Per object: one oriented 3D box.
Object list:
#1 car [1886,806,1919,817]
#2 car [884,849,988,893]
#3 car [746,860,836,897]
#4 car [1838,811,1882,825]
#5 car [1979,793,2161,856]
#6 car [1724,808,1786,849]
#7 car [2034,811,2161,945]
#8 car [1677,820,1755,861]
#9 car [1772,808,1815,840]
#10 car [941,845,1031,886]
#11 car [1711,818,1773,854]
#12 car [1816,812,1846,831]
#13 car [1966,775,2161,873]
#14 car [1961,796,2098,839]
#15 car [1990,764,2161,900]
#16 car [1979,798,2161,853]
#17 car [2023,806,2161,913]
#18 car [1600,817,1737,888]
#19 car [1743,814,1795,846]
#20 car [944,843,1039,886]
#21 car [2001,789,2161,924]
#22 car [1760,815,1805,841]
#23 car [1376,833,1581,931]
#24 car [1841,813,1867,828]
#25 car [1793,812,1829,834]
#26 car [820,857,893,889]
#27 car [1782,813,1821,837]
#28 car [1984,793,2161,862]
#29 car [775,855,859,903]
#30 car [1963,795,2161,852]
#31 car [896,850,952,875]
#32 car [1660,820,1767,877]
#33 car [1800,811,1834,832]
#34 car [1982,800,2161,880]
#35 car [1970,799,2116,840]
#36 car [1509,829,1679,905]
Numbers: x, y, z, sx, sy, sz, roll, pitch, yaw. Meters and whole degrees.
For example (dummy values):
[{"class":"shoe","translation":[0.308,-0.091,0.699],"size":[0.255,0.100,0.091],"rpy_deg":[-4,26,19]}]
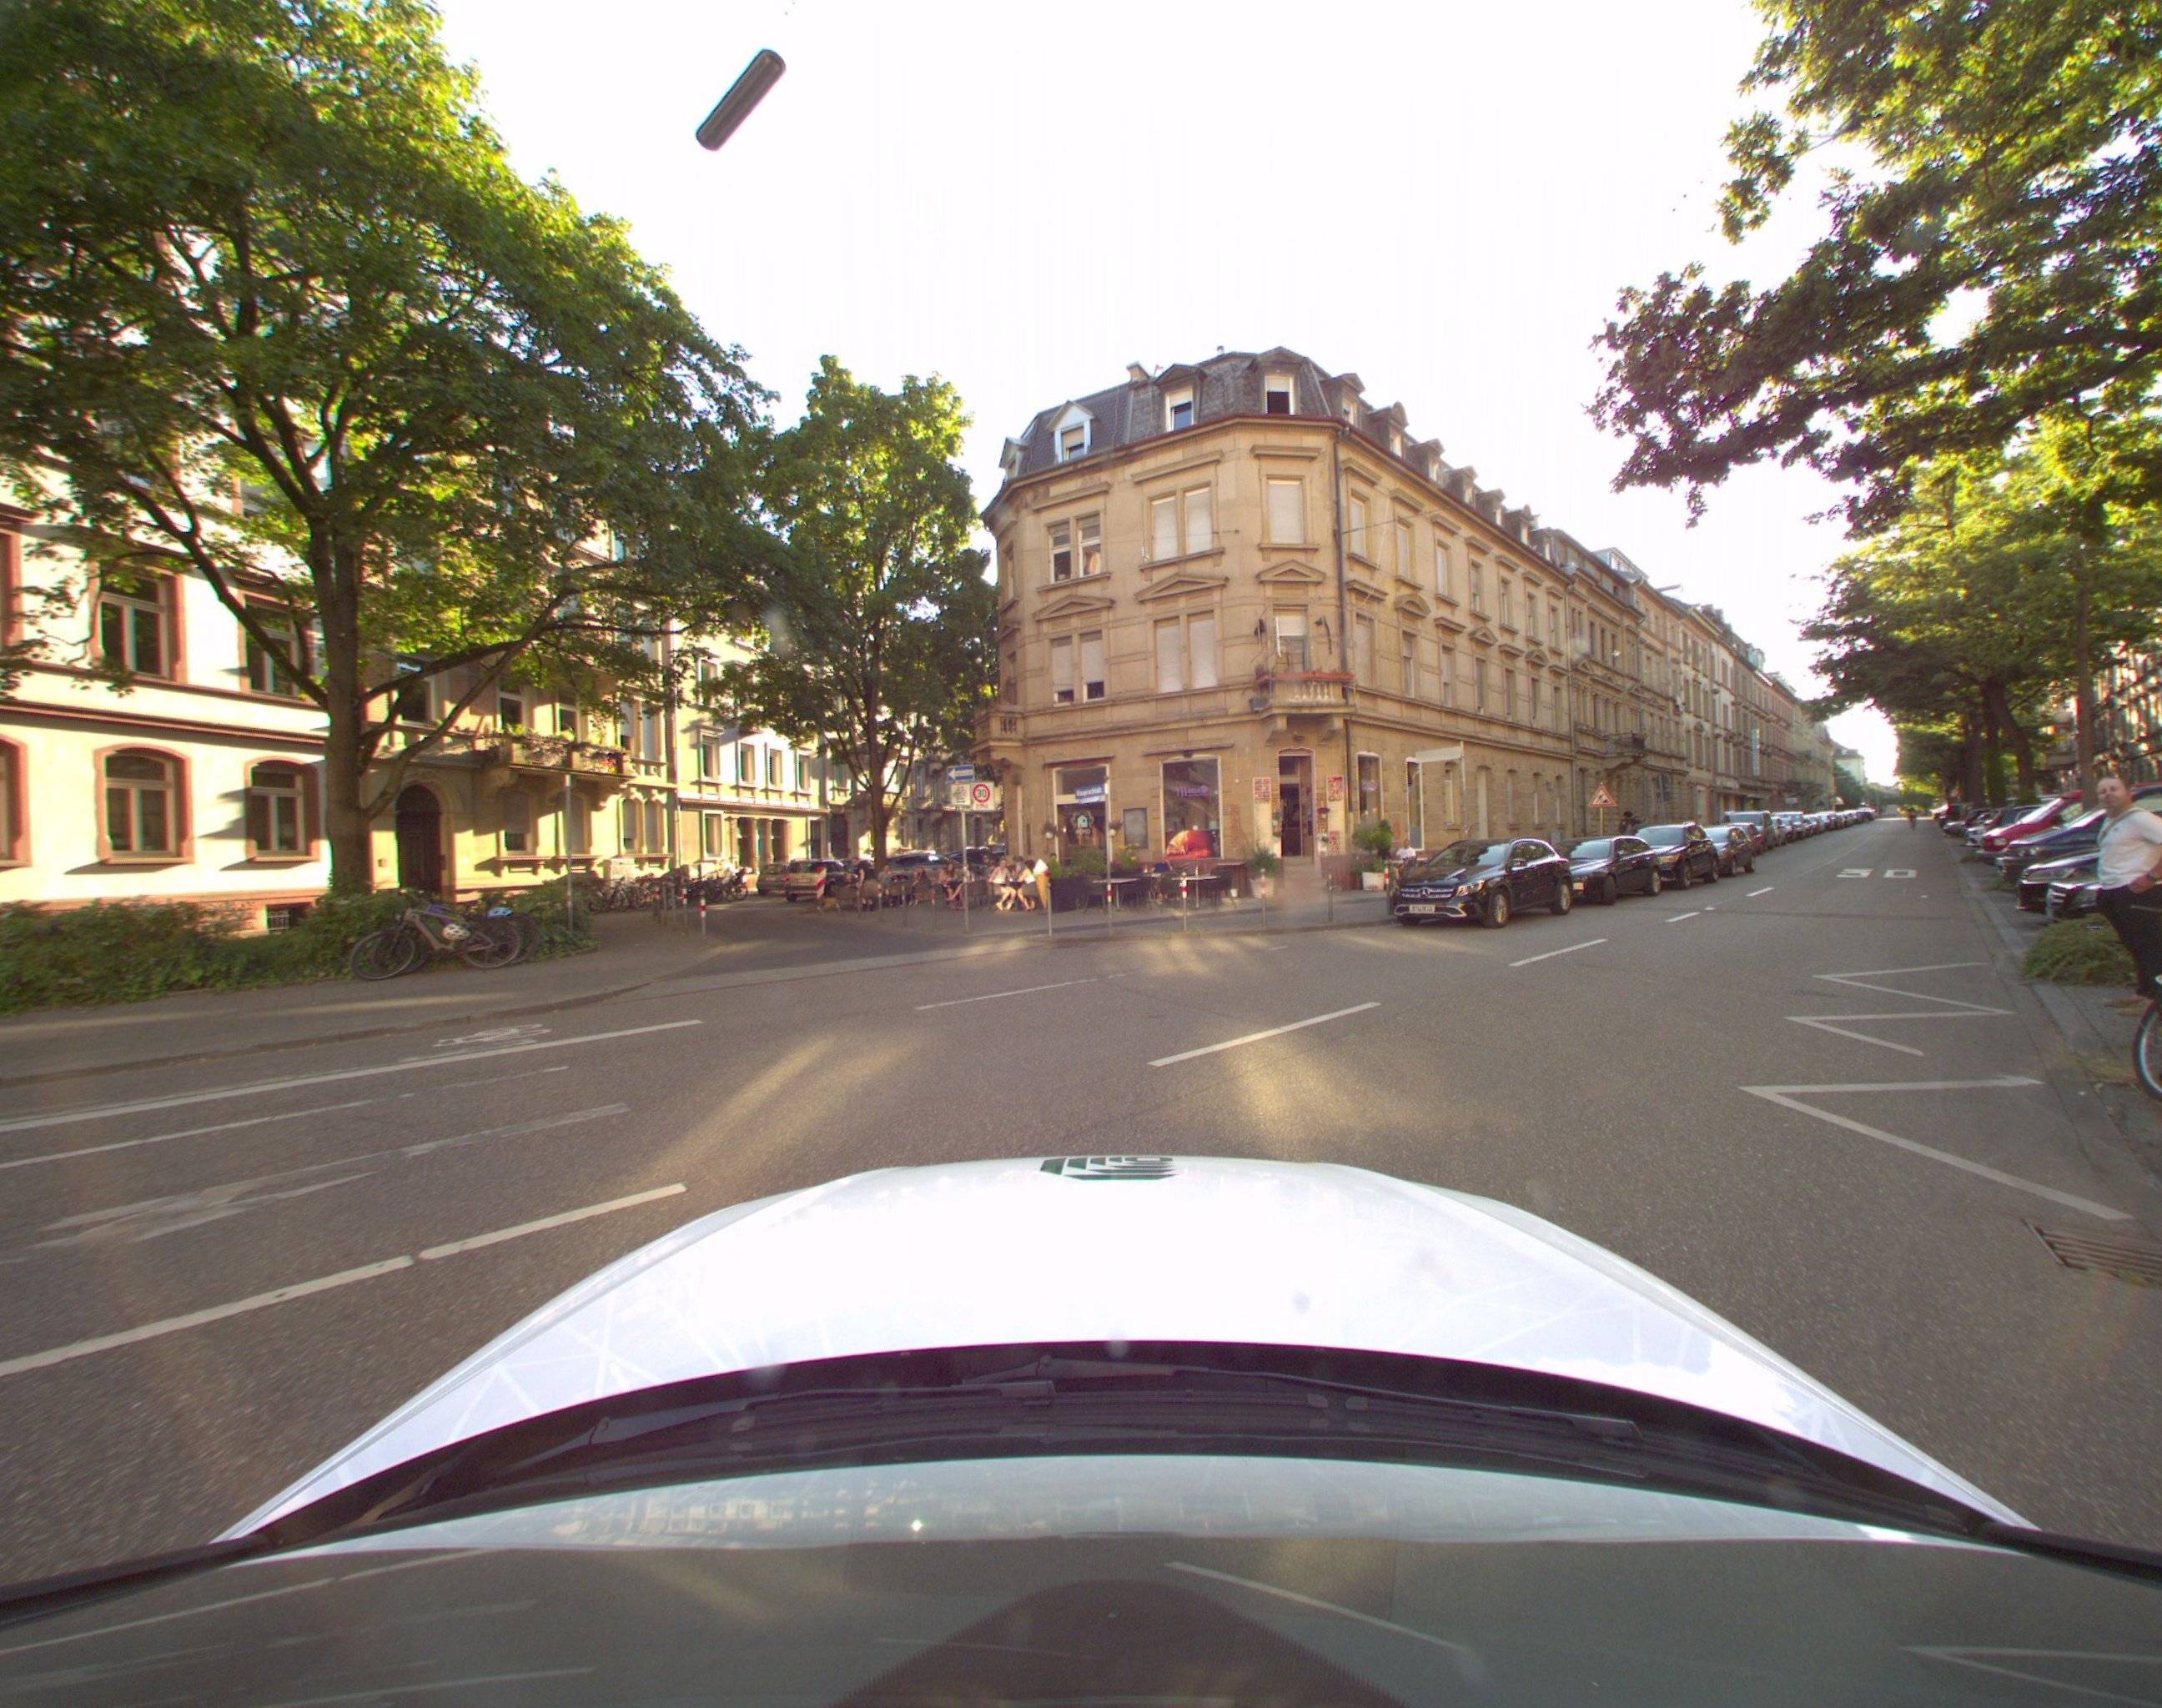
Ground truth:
[{"class":"car","translation":[148.860,-7.702,147.625],"size":[1.759,1.859,3.957],"rpy_deg":[-3,1,-35]},{"class":"car","translation":[-5.781,0.646,32.408],"size":[3.835,1.562,1.792],"rpy_deg":[-2,0,-19]},{"class":"car","translation":[-12.502,1.015,35.393],"size":[1.910,1.376,3.765],"rpy_deg":[-2,0,13]},{"class":"car","translation":[96.941,-4.492,101.394],"size":[3.989,1.486,1.992],"rpy_deg":[-1,-1,-11]},{"class":"car","translation":[31.300,-0.902,25.598],"size":[1.816,1.628,3.973],"rpy_deg":[-2,-2,-45]},{"class":"car","translation":[33.624,-1.300,40.570],"size":[5.290,1.943,1.815],"rpy_deg":[-3,2,-44]},{"class":"car","translation":[13.178,0.153,8.079],"size":[1.861,1.413,4.743],"rpy_deg":[-2,-1,-41]},{"class":"car","translation":[26.216,-0.572,33.588],"size":[4.082,1.501,1.743],"rpy_deg":[-3,0,-41]},{"class":"car","translation":[46.118,-1.965,52.699],"size":[1.742,1.841,4.557],"rpy_deg":[-3,0,45]},{"class":"car","translation":[-4.520,0.520,38.470],"size":[3.993,1.684,1.990],"rpy_deg":[-2,0,-14]},{"class":"car","translation":[29.716,-0.830,36.562],"size":[3.720,1.475,1.579],"rpy_deg":[-3,2,-42]},{"class":"car","translation":[65.804,-2.885,71.444],"size":[1.742,1.473,4.083],"rpy_deg":[-3,0,45]},{"class":"car","translation":[24.042,-0.712,18.808],"size":[4.631,2.033,1.890],"rpy_deg":[-5,-2,44]},{"class":"car","translation":[43.861,-1.639,37.800],"size":[1.744,1.607,3.973],"rpy_deg":[-2,-2,-43]},{"class":"car","translation":[18.823,-0.401,13.421],"size":[2.004,2.215,4.975],"rpy_deg":[-2,0,-44]},{"class":"car","translation":[33.122,-0.931,27.262],"size":[1.805,1.434,3.973],"rpy_deg":[-2,-2,-44]},{"class":"car","translation":[16.612,0.035,11.608],"size":[1.734,1.534,4.069],"rpy_deg":[-2,0,-42]},{"class":"car","translation":[15.575,-0.074,21.499],"size":[4.574,1.600,1.743],"rpy_deg":[-3,0,-39]},{"class":"car","translation":[37.852,-1.332,44.781],"size":[4.409,1.608,1.738],"rpy_deg":[-3,2,-43]},{"class":"car","translation":[-3.889,0.440,35.843],"size":[3.980,1.684,1.997],"rpy_deg":[-2,0,-5]},{"class":"car","translation":[14.837,-0.047,9.962],"size":[1.861,1.679,4.646],"rpy_deg":[-2,-1,-42]},{"class":"car","translation":[42.336,-1.567,49.113],"size":[1.742,1.467,4.024],"rpy_deg":[0,3,45]},{"class":"car","translation":[7.365,0.434,14.912],"size":[4.160,1.488,1.743],"rpy_deg":[-2,-1,-39]},{"class":"car","translation":[89.443,-3.847,94.217],"size":[4.023,1.486,1.975],"rpy_deg":[-1,-1,-44]},{"class":"car","translation":[54.223,-2.287,60.450],"size":[1.742,1.473,4.083],"rpy_deg":[-3,0,45]},{"class":"car","translation":[-11.078,0.900,40.473],"size":[1.910,1.376,3.765],"rpy_deg":[-2,0,13]},{"class":"car","translation":[49.779,-2.029,56.224],"size":[1.742,1.473,4.083],"rpy_deg":[-3,0,45]},{"class":"car","translation":[27.806,-0.738,22.193],"size":[1.847,1.628,4.150],"rpy_deg":[-2,-2,-40]},{"class":"car","translation":[-10.413,0.940,32.415],"size":[1.987,1.684,3.999],"rpy_deg":[-2,0,-1]},{"class":"car","translation":[34.735,-1.064,29.026],"size":[1.861,1.556,4.304],"rpy_deg":[-5,-1,-44]},{"class":"car","translation":[-9.505,0.498,49.502],"size":[1.910,1.376,3.765],"rpy_deg":[-2,0,13]},{"class":"car","translation":[19.434,-0.195,24.970],"size":[4.081,1.501,1.743],"rpy_deg":[-3,0,-40]},{"class":"car","translation":[57.746,-2.528,63.847],"size":[1.742,1.473,4.083],"rpy_deg":[-3,0,45]},{"class":"car","translation":[21.938,-0.337,17.020],"size":[1.890,1.510,4.017],"rpy_deg":[-2,-2,-44]},{"class":"car","translation":[42.236,-1.486,35.914],"size":[1.744,1.467,3.973],"rpy_deg":[-2,-2,-43]},{"class":"car","translation":[11.608,0.242,18.303],"size":[4.572,1.451,1.744],"rpy_deg":[-2,-1,-38]}]
